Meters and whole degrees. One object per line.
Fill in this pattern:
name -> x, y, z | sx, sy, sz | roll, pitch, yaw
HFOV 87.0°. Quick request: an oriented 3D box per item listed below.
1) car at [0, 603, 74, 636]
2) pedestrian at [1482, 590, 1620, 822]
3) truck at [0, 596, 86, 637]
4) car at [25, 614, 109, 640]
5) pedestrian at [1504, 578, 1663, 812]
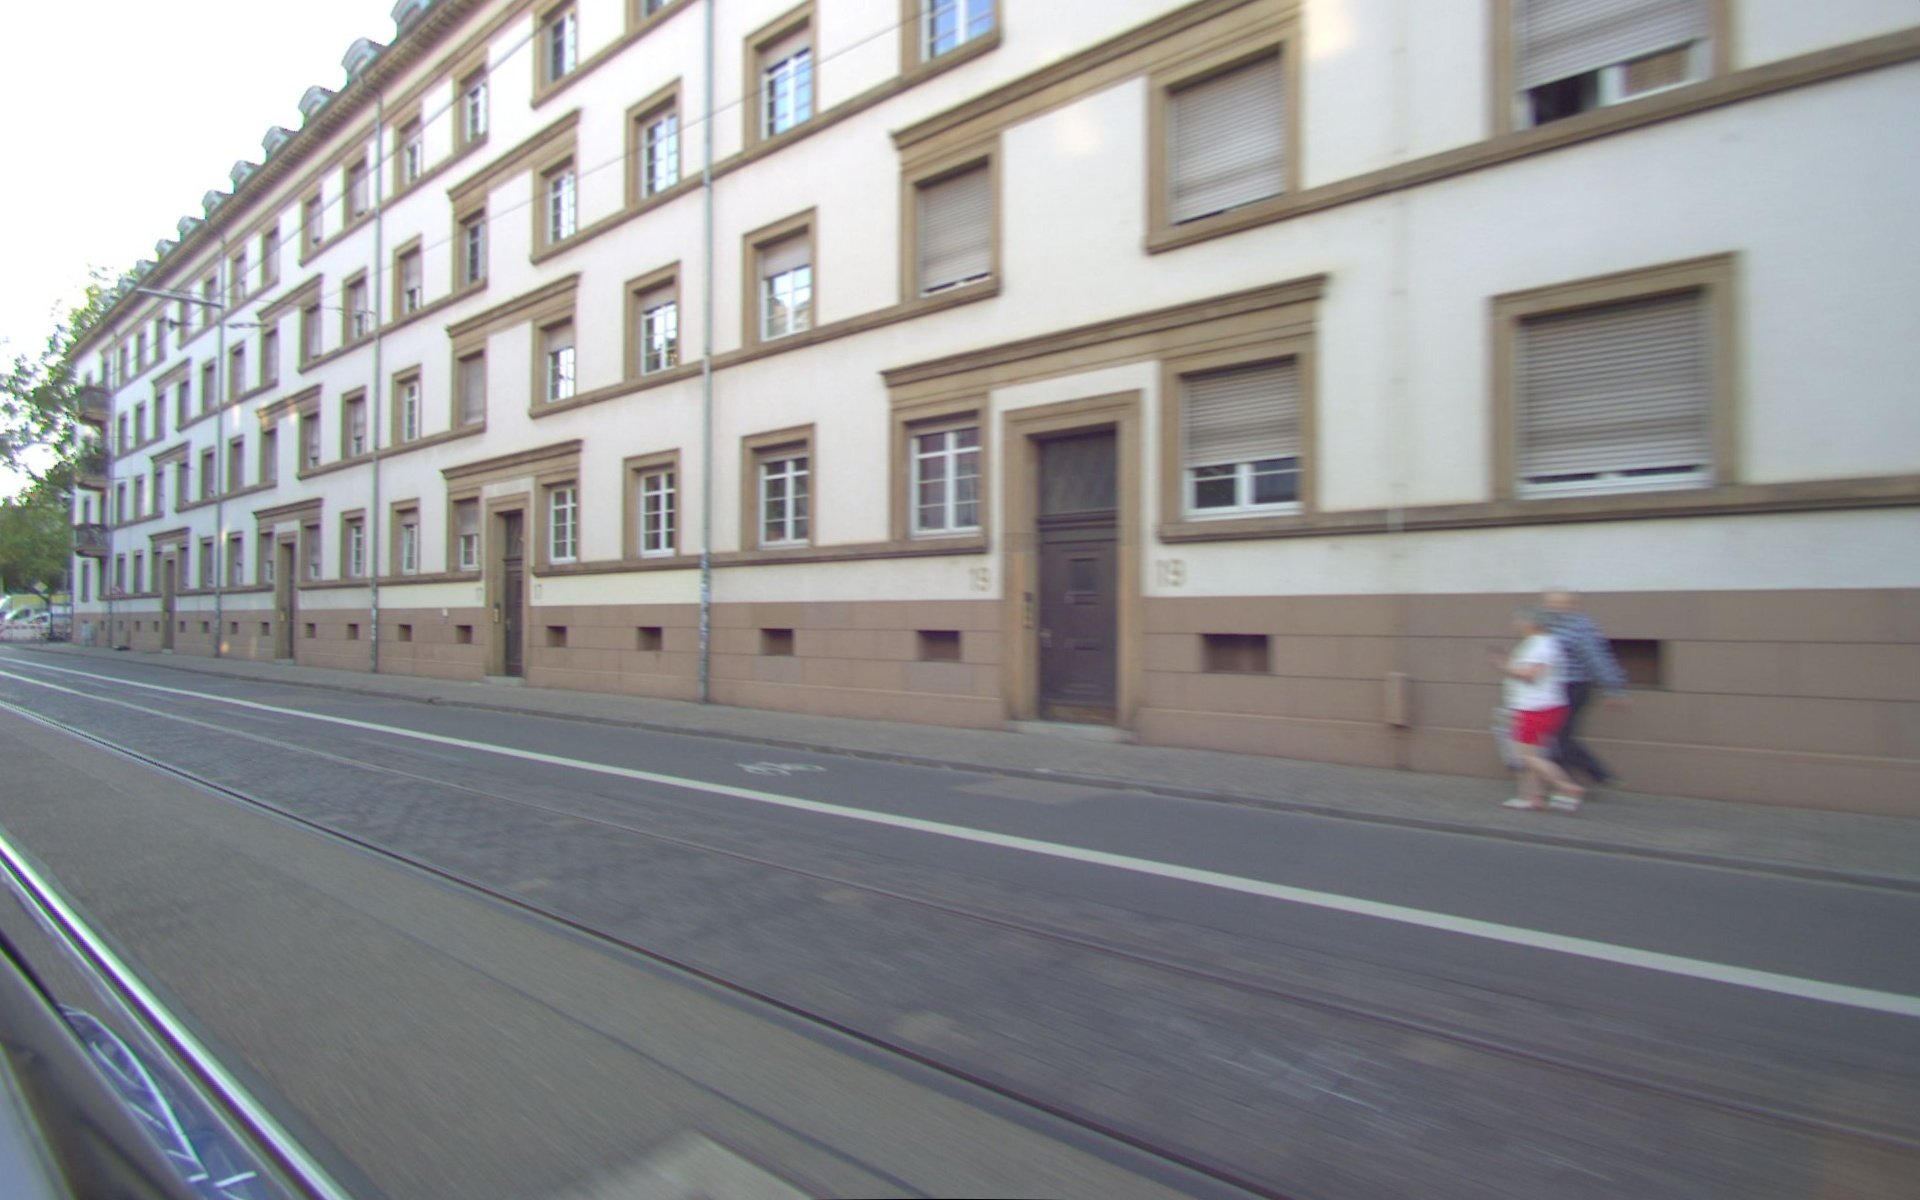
car -> -75.291, 1.565, 81.819 | 2.225, 2.617, 5.171 | -2, -1, 36
pedestrian -> 4.426, 0.753, 7.584 | 0.810, 1.622, 0.585 | -1, -2, 38
truck -> -79.356, 1.406, 86.254 | 2.562, 3.454, 6.993 | -2, -1, 37
car -> -69.894, 2.081, 79.255 | 2.014, 1.888, 4.782 | -2, -1, 41
pedestrian -> 4.954, 0.707, 8.040 | 0.980, 1.714, 0.788 | -1, -2, 38
